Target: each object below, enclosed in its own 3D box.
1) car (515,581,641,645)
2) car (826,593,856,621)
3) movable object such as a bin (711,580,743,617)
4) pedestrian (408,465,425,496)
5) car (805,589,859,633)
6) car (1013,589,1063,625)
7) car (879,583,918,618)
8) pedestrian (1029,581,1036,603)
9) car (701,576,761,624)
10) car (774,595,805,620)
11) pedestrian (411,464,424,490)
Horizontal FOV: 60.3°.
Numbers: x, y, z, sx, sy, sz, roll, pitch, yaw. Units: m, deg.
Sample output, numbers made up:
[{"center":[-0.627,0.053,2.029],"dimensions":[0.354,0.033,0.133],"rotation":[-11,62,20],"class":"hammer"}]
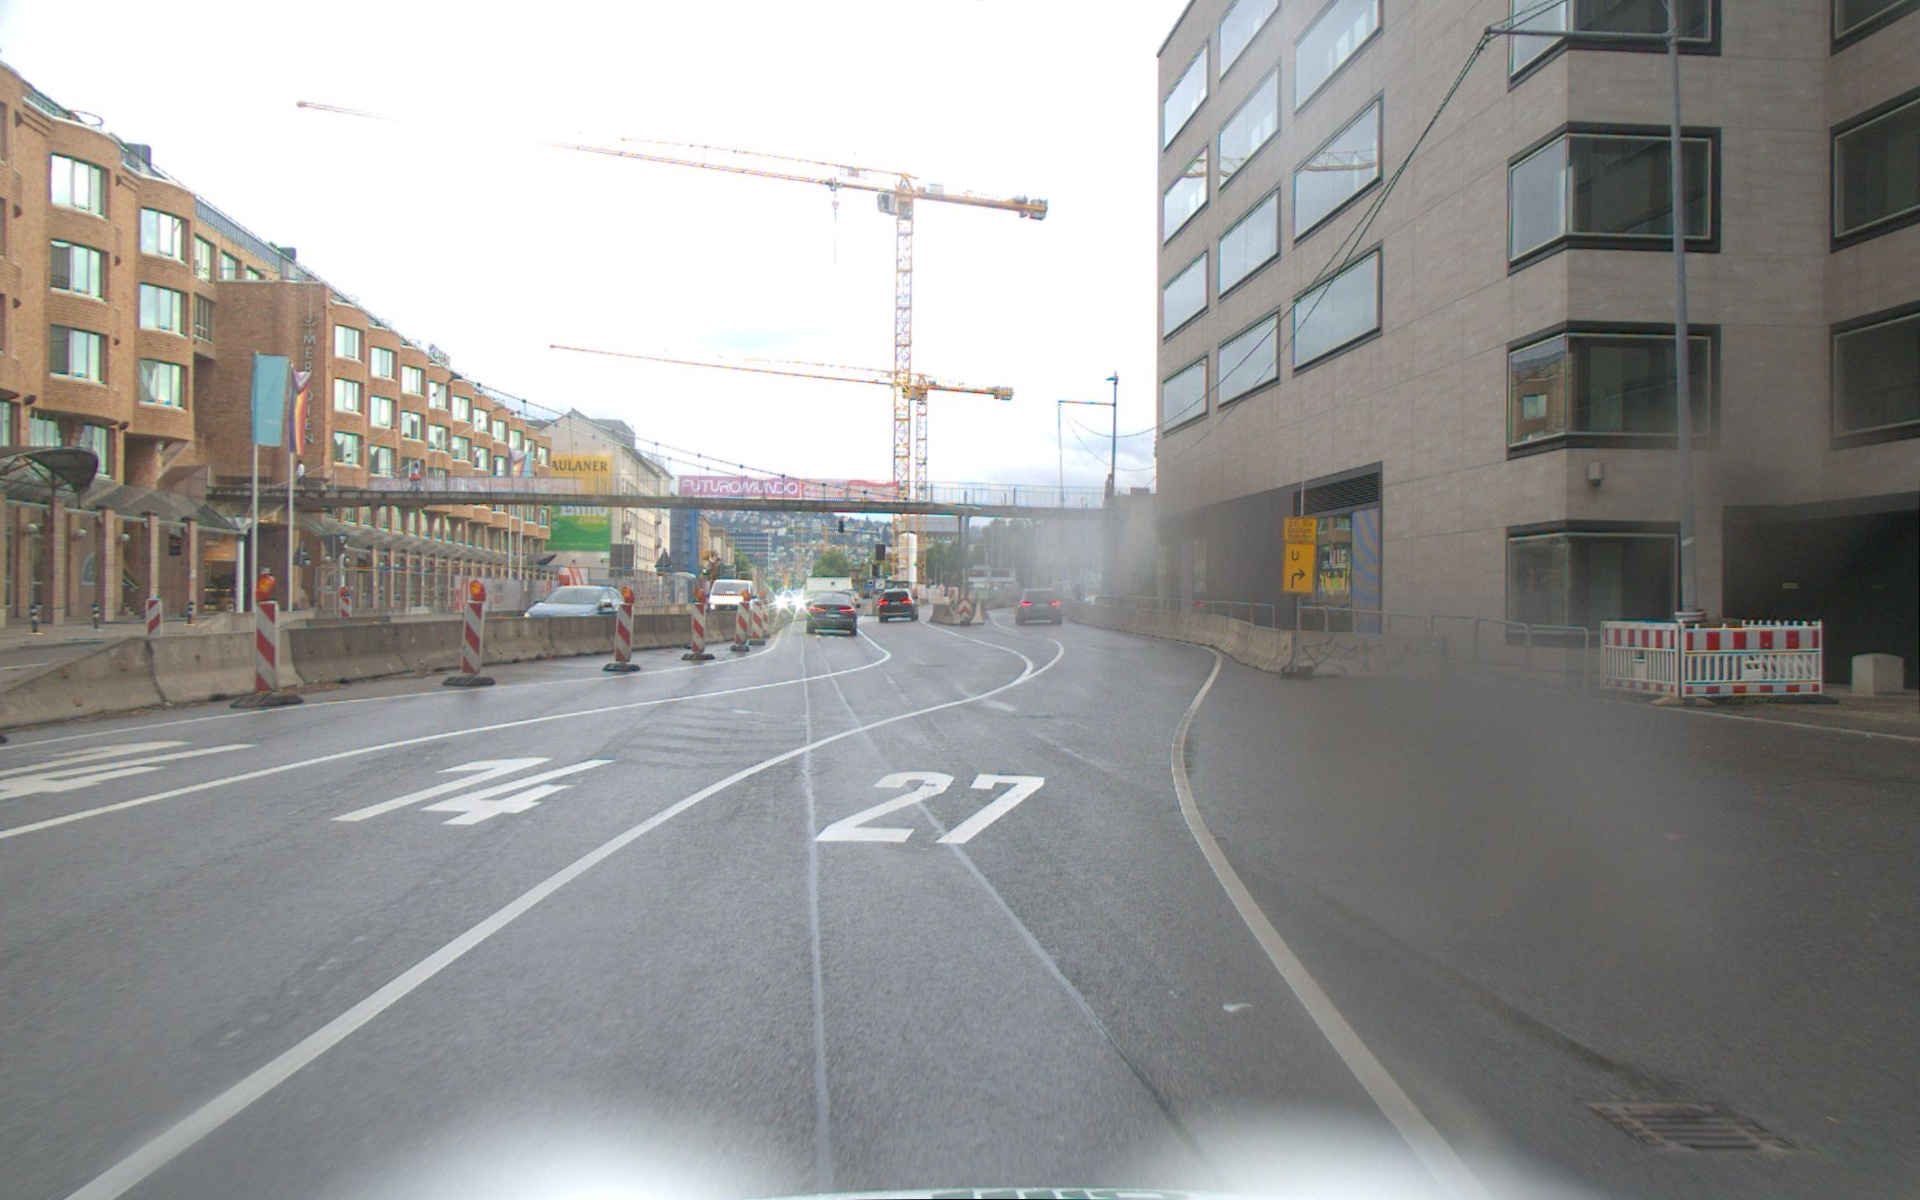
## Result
[{"center":[-9.450,0.302,41.271],"dimensions":[1.952,1.485,4.230],"rotation":[1,0,3],"class":"car"},{"center":[-8.078,0.461,111.926],"dimensions":[1.827,1.796,4.650],"rotation":[1,0,-6],"class":"car"},{"center":[-15.595,-0.072,110.805],"dimensions":[1.988,2.317,4.286],"rotation":[-3,0,-8],"class":"movable object such as a bin"},{"center":[-26.691,-5.866,81.187],"dimensions":[0.608,1.477,0.618],"rotation":[-1,0,-1],"class":"pedestrian"},{"center":[-4.591,0.362,59.226],"dimensions":[1.826,1.468,4.652],"rotation":[1,0,-5],"class":"car"},{"center":[3.208,0.267,68.767],"dimensions":[1.825,1.458,4.656],"rotation":[1,0,0],"class":"car"},{"center":[-3.126,0.009,85.128],"dimensions":[1.825,1.689,4.656],"rotation":[1,0,0],"class":"car"},{"center":[6.671,-0.751,152.534],"dimensions":[0.613,2.049,0.664],"rotation":[0,0,7],"class":"pedestrian"},{"center":[-9.507,-0.023,68.988],"dimensions":[1.953,1.918,4.868],"rotation":[1,0,-1],"class":"car"},{"center":[-11.916,0.533,115.867],"dimensions":[1.954,1.651,4.699],"rotation":[0,1,-4],"class":"car"},{"center":[-26.642,-6.028,81.188],"dimensions":[0.465,1.215,0.484],"rotation":[-1,0,-1],"class":"pedestrian"}]
